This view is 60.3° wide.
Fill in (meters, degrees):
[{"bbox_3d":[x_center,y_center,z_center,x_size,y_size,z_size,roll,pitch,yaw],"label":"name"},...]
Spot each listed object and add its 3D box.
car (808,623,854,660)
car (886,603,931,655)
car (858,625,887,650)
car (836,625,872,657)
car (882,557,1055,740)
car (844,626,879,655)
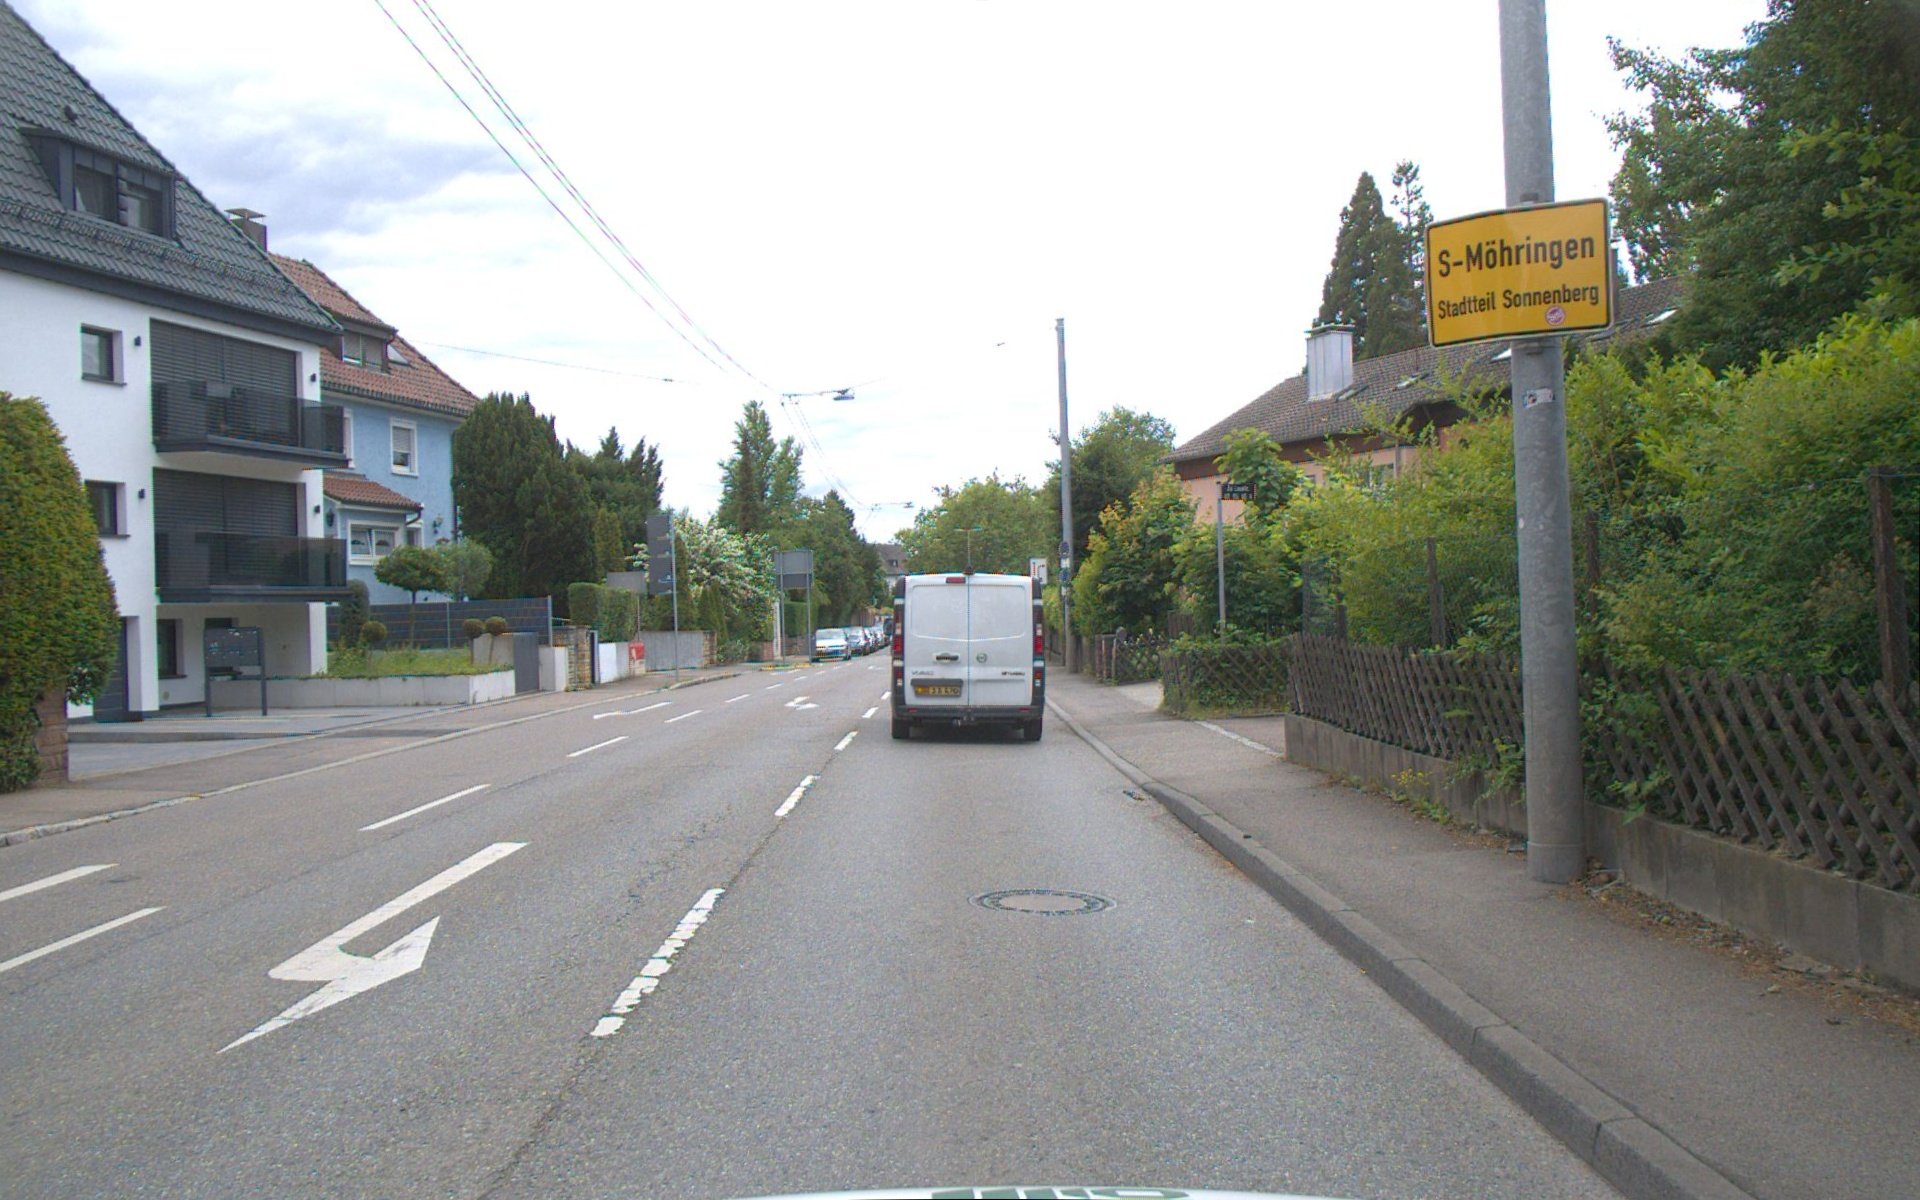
[{"bbox_3d":[-5.875,1.868,75.652,1.773,1.480,4.412,-4,-1,-1],"label":"car"},{"bbox_3d":[-2.735,1.514,88.939,2.068,2.542,6.125,-2,0,1],"label":"car"},{"bbox_3d":[-5.791,2.474,110.106,1.635,1.514,4.431,-3,-1,0],"label":"car"},{"bbox_3d":[-5.741,2.234,90.210,1.644,1.583,3.971,-3,-1,0],"label":"car"},{"bbox_3d":[0.065,0.579,21.408,1.965,2.073,5.009,1,-1,-1],"label":"car"},{"bbox_3d":[-5.844,2.387,98.358,1.851,1.520,4.026,-3,-1,-1],"label":"car"}]
